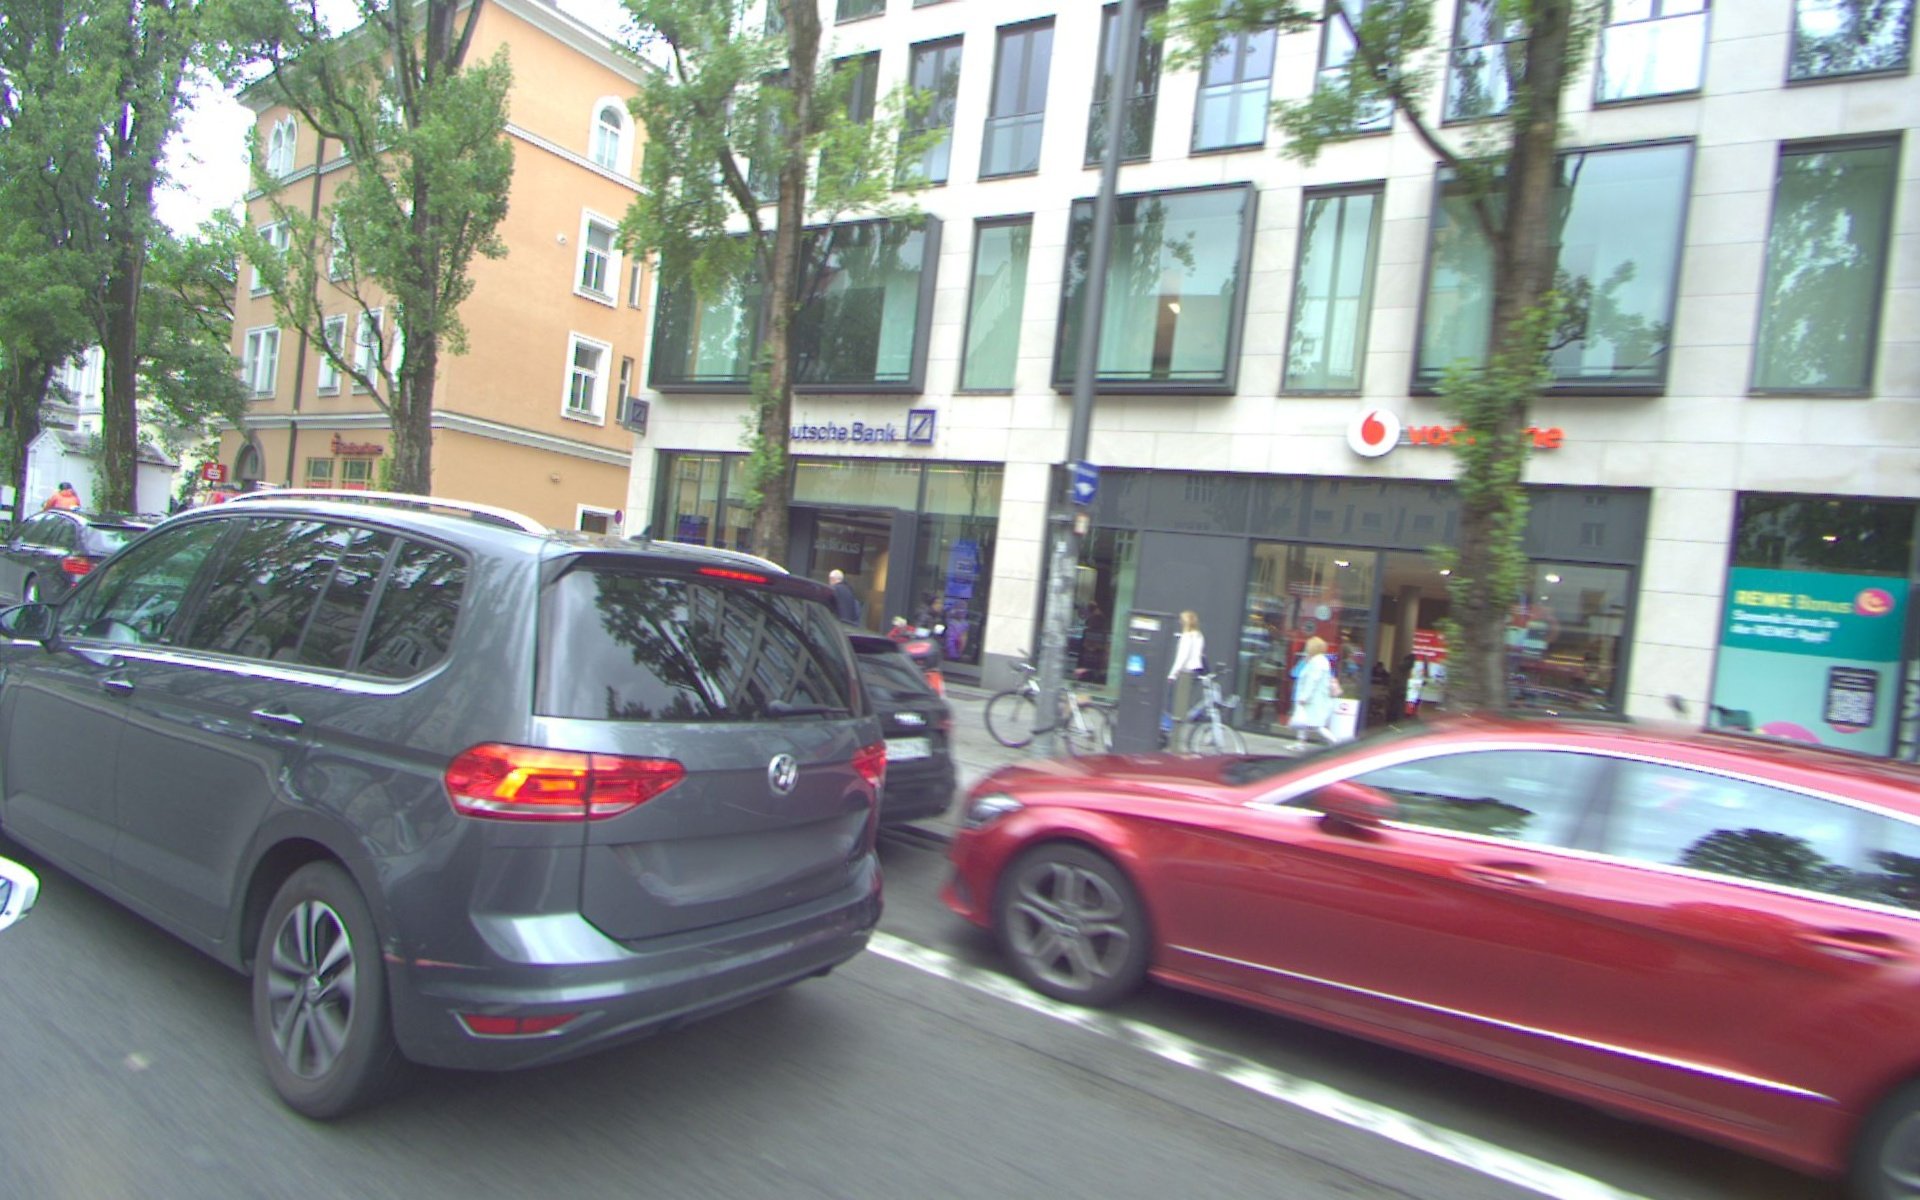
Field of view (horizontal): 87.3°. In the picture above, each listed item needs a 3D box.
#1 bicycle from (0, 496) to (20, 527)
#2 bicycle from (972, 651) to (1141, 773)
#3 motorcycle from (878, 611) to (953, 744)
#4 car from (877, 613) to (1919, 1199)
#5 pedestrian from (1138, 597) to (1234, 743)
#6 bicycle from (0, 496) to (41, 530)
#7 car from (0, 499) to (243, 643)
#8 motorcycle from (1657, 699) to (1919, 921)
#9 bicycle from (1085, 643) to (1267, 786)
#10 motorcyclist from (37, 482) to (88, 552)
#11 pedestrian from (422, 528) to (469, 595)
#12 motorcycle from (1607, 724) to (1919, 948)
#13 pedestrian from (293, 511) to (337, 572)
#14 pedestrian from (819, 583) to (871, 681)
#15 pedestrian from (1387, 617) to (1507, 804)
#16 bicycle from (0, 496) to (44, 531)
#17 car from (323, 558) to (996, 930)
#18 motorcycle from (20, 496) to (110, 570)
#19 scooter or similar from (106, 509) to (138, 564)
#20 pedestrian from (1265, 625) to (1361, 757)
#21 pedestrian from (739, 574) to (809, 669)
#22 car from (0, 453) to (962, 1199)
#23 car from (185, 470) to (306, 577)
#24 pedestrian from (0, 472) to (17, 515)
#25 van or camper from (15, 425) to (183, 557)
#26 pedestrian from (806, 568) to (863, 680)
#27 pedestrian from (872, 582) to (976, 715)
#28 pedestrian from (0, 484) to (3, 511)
[{"bbox_3d":[-35.237,-3.286,36.099,0.678,1.036,2.060,7,0,17],"label":"bicycle"},{"bbox_3d":[0.962,1.123,10.405,1.737,0.953,0.432,7,2,41],"label":"bicycle"},{"bbox_3d":[-0.463,0.805,11.261,0.627,1.267,1.973,6,1,0],"label":"motorcycle"},{"bbox_3d":[2.202,1.095,4.214,4.723,1.468,1.933,7,1,30],"label":"car"},{"bbox_3d":[2.968,0.912,13.239,0.786,1.794,0.677,6,2,-26],"label":"pedestrian"},{"bbox_3d":[-34.095,-3.156,35.678,0.679,1.036,2.058,7,0,25],"label":"bicycle"},{"bbox_3d":[-11.181,-0.435,12.931,4.362,1.412,1.733,7,1,34],"label":"car"},{"bbox_3d":[6.471,1.572,7.689,1.612,1.373,0.688,7,1,8],"label":"motorcycle"},{"bbox_3d":[2.233,1.156,10.493,1.686,1.203,0.455,7,2,28],"label":"bicycle"},{"bbox_3d":[-19.663,-1.811,22.038,0.753,1.425,0.564,7,2,32],"label":"motorcyclist"},{"bbox_3d":[-12.760,-0.940,24.954,0.701,1.571,0.606,7,2,8],"label":"pedestrian"},{"bbox_3d":[5.580,1.585,6.950,1.612,1.171,0.688,7,1,8],"label":"motorcycle"},{"bbox_3d":[-18.939,-1.717,29.552,0.792,1.647,0.730,7,2,35],"label":"pedestrian"},{"bbox_3d":[-1.853,0.509,16.226,0.498,1.510,0.543,6,1,-30],"label":"pedestrian"},{"bbox_3d":[5.428,1.194,11.201,0.923,1.893,0.818,7,2,32],"label":"pedestrian"},{"bbox_3d":[-32.807,-3.035,34.433,0.682,1.036,2.049,7,0,43],"label":"bicycle"},{"bbox_3d":[-2.159,0.709,6.770,4.353,1.446,1.849,7,0,33],"label":"car"},{"bbox_3d":[-19.662,-1.482,22.082,2.215,1.388,0.826,7,2,32],"label":"motorcycle"},{"bbox_3d":[-20.357,-1.555,24.430,0.522,1.249,1.459,3,3,-41],"label":"scooter or similar"},{"bbox_3d":[4.772,1.223,13.620,0.786,1.641,0.713,6,1,-25],"label":"pedestrian"},{"bbox_3d":[-3.415,0.407,18.513,0.824,1.641,0.736,7,2,32],"label":"pedestrian"},{"bbox_3d":[-2.277,0.444,3.976,4.114,1.633,1.764,7,-1,32],"label":"car"},{"bbox_3d":[-18.625,-2.016,26.118,1.894,2.358,4.766,5,1,-42],"label":"car"},{"bbox_3d":[-44.429,-4.952,46.735,0.756,1.895,0.699,6,-1,45],"label":"pedestrian"},{"bbox_3d":[-24.076,-3.056,28.085,4.643,3.152,2.459,7,1,37],"label":"van or camper"},{"bbox_3d":[-1.948,0.370,15.578,0.545,1.658,0.554,6,1,-30],"label":"pedestrian"},{"bbox_3d":[-0.465,0.634,13.245,0.922,1.596,0.835,7,1,28],"label":"pedestrian"},{"bbox_3d":[-41.883,-4.241,43.331,0.662,1.671,0.621,6,1,-27],"label":"pedestrian"}]
